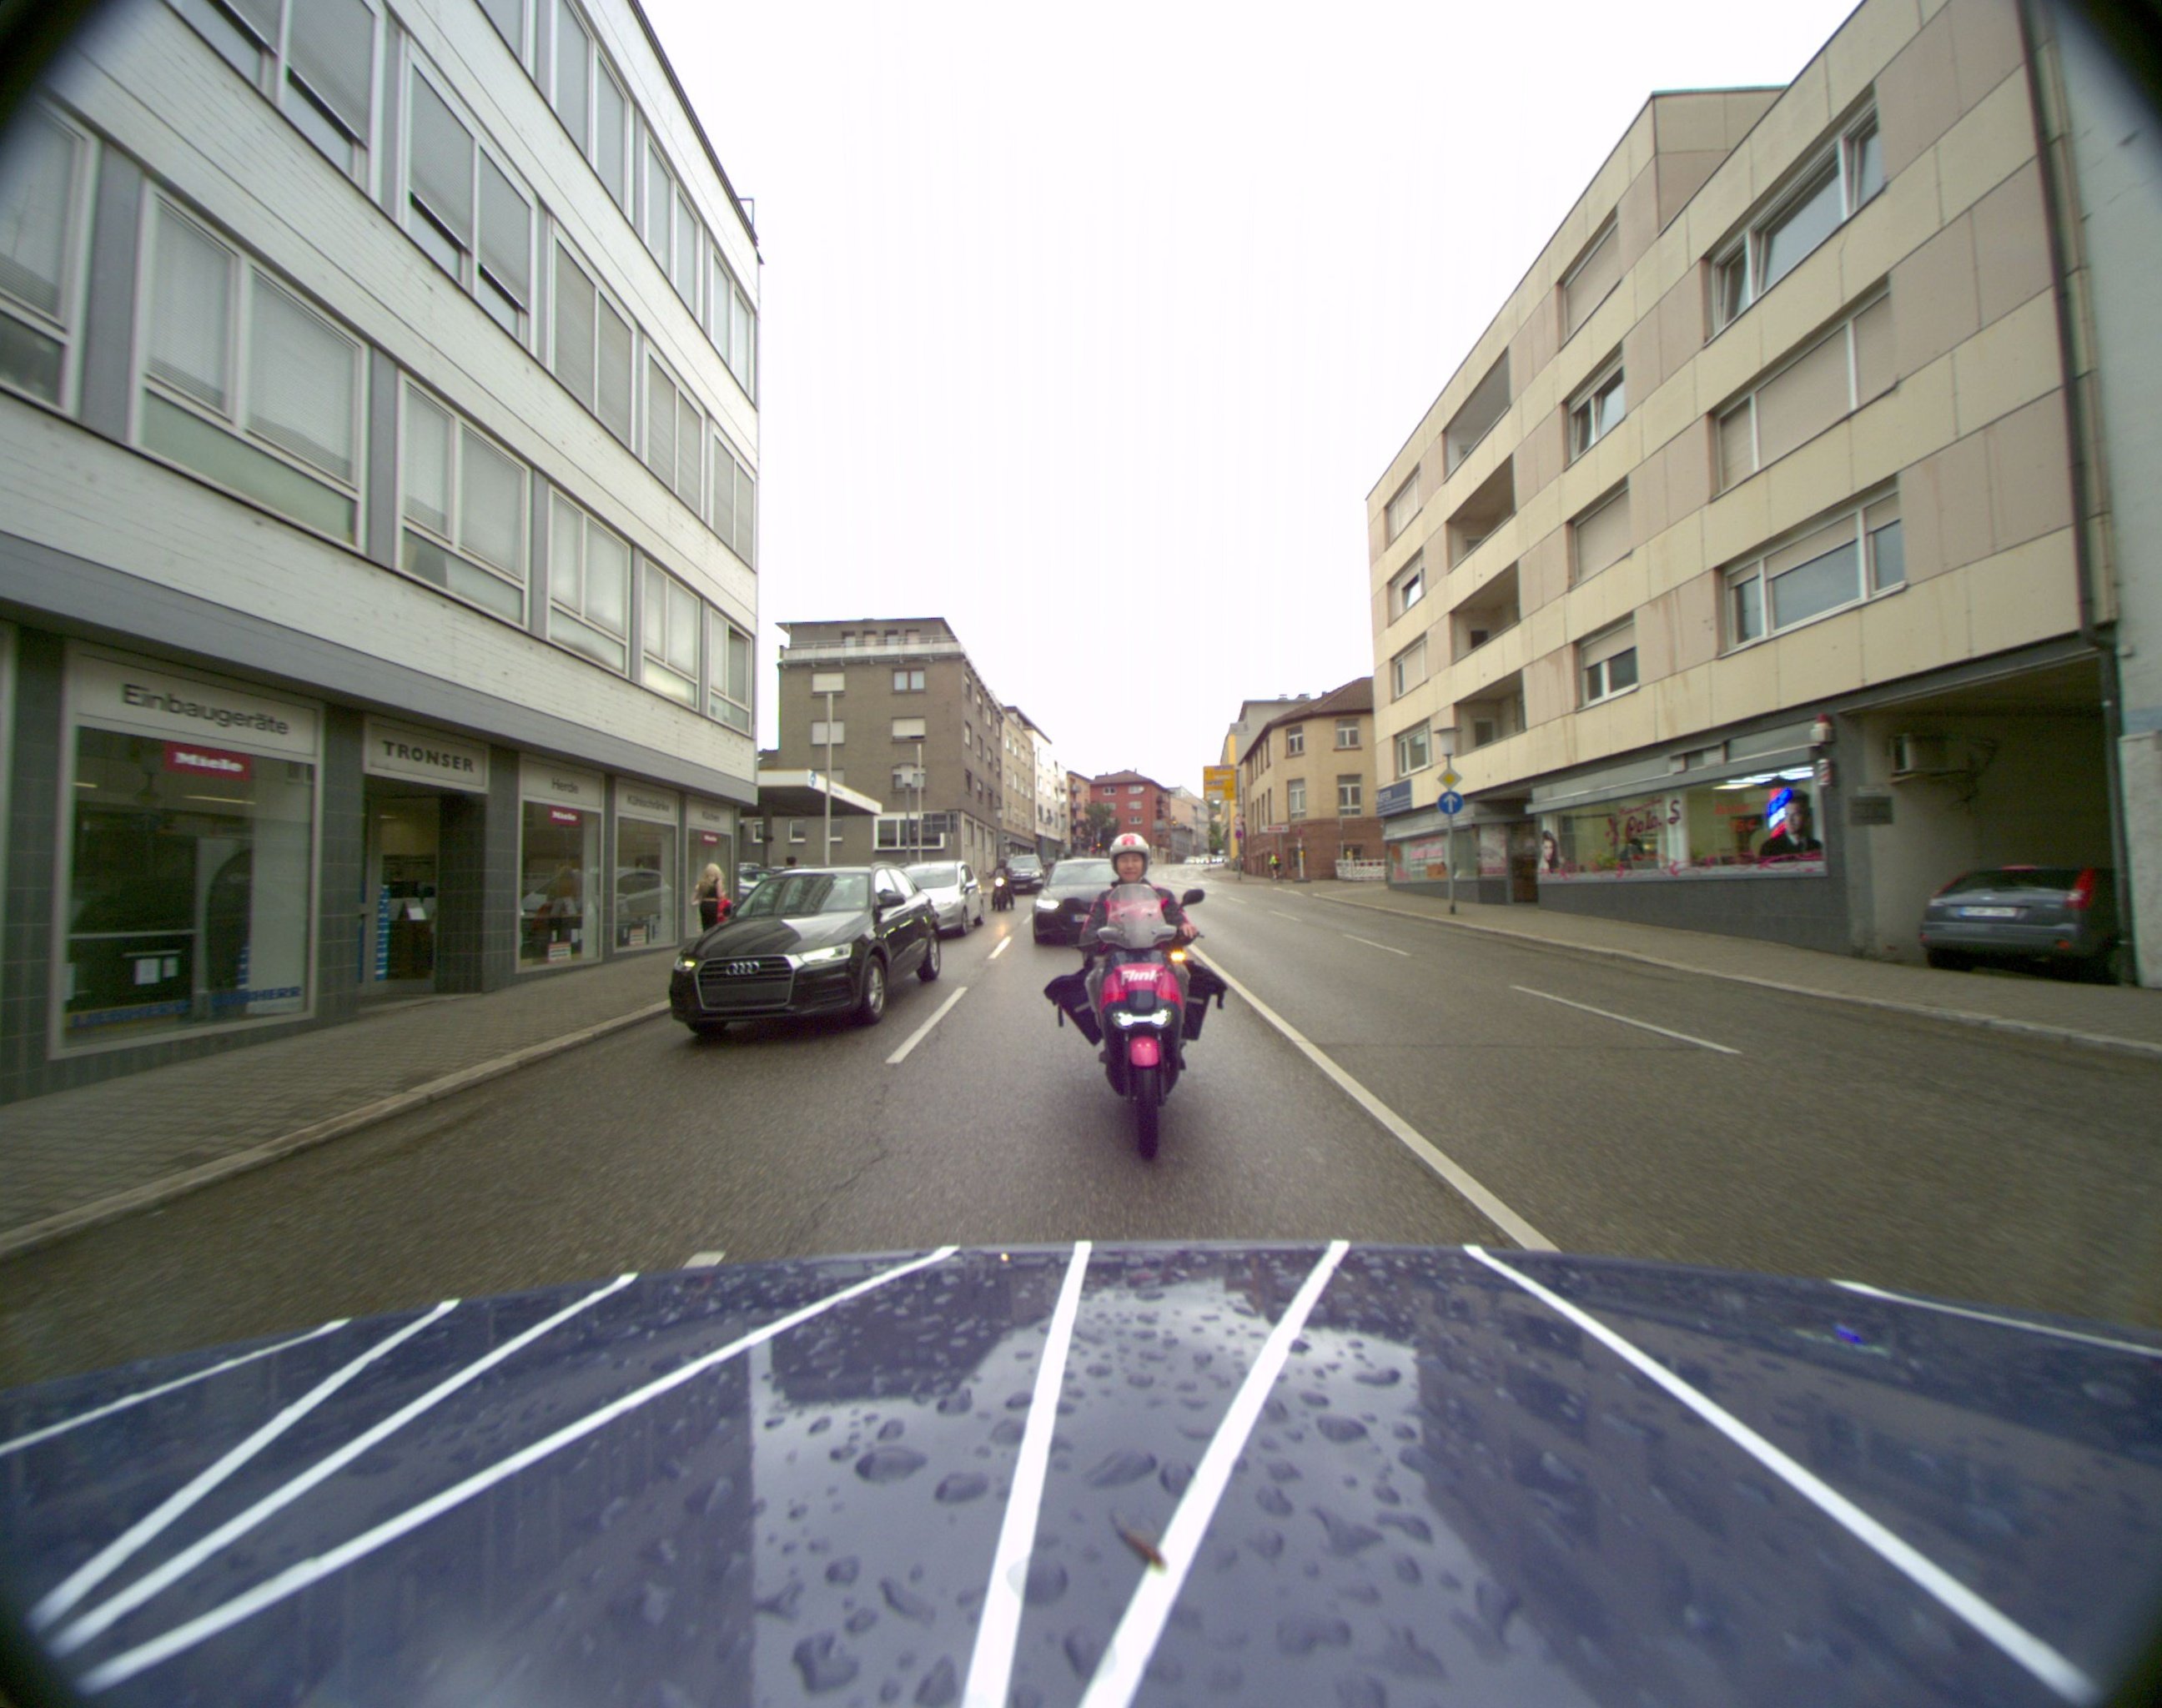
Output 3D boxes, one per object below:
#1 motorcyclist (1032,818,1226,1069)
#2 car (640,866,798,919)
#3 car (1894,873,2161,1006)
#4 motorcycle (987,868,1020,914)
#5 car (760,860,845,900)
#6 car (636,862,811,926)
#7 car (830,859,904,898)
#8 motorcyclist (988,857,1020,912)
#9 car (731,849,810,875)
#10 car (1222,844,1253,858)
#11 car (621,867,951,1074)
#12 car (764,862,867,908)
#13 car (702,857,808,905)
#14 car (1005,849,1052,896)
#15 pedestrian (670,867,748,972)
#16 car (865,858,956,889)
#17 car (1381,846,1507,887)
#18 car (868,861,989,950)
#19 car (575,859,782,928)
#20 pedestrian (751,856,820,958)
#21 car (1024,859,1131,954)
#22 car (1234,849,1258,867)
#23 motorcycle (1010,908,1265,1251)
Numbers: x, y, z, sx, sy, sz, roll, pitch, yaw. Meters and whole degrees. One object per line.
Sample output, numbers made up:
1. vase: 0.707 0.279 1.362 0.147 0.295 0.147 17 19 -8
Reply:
1. motorcyclist: 0.293 0.512 4.728 1.010 1.373 0.835 -4 1 3
2. car: -10.852 1.115 23.049 4.001 1.393 1.669 -1 0 -13
3. car: 12.568 1.087 9.158 4.000 1.342 1.678 6 -2 -6
4. motorcycle: -2.332 1.104 23.164 0.847 1.219 2.372 -4 1 -4
5. car: -11.765 1.086 32.406 1.792 1.502 4.420 2 -1 2
6. car: -9.568 1.028 20.675 4.002 1.521 1.761 -1 1 -15
7. car: -9.170 1.007 32.973 1.792 1.503 4.437 -1 0 2
8. motorcyclist: -2.338 0.901 23.138 0.847 1.580 0.962 -4 1 -4
9. car: -17.602 0.467 43.173 3.751 1.445 1.795 0 -1 4
10. car: 20.594 -0.443 99.998 4.274 1.793 1.862 0 1 -41
11. car: -2.823 1.011 8.445 1.827 1.551 4.202 -4 0 2
12. car: -9.309 1.043 27.084 1.792 1.407 4.616 0 0 4
13. car: -11.854 0.956 27.999 1.792 1.535 4.493 2 -1 2
14. car: -2.212 0.742 32.836 1.849 1.893 3.764 -1 0 -2
15. pedestrian: -5.784 0.989 11.854 0.767 1.542 0.890 1 1 -2
16. car: -9.534 1.080 42.731 4.531 1.495 2.001 -3 0 5
17. car: 14.956 0.510 31.523 4.358 1.495 1.755 -2 0 11
18. car: -3.184 1.007 16.709 1.831 1.532 4.251 -4 0 -2
19. car: -9.385 0.929 18.084 4.003 1.442 1.796 2 0 -16
20. pedestrian: -5.209 0.910 13.463 0.786 1.696 1.120 1 1 -2
21. car: 0.069 0.902 14.877 1.705 1.452 4.319 -3 0 3
22. car: 14.070 0.334 64.993 1.861 1.445 3.966 -4 -1 11
23. motorcycle: 0.315 1.065 4.588 1.010 1.218 2.694 -4 0 3
